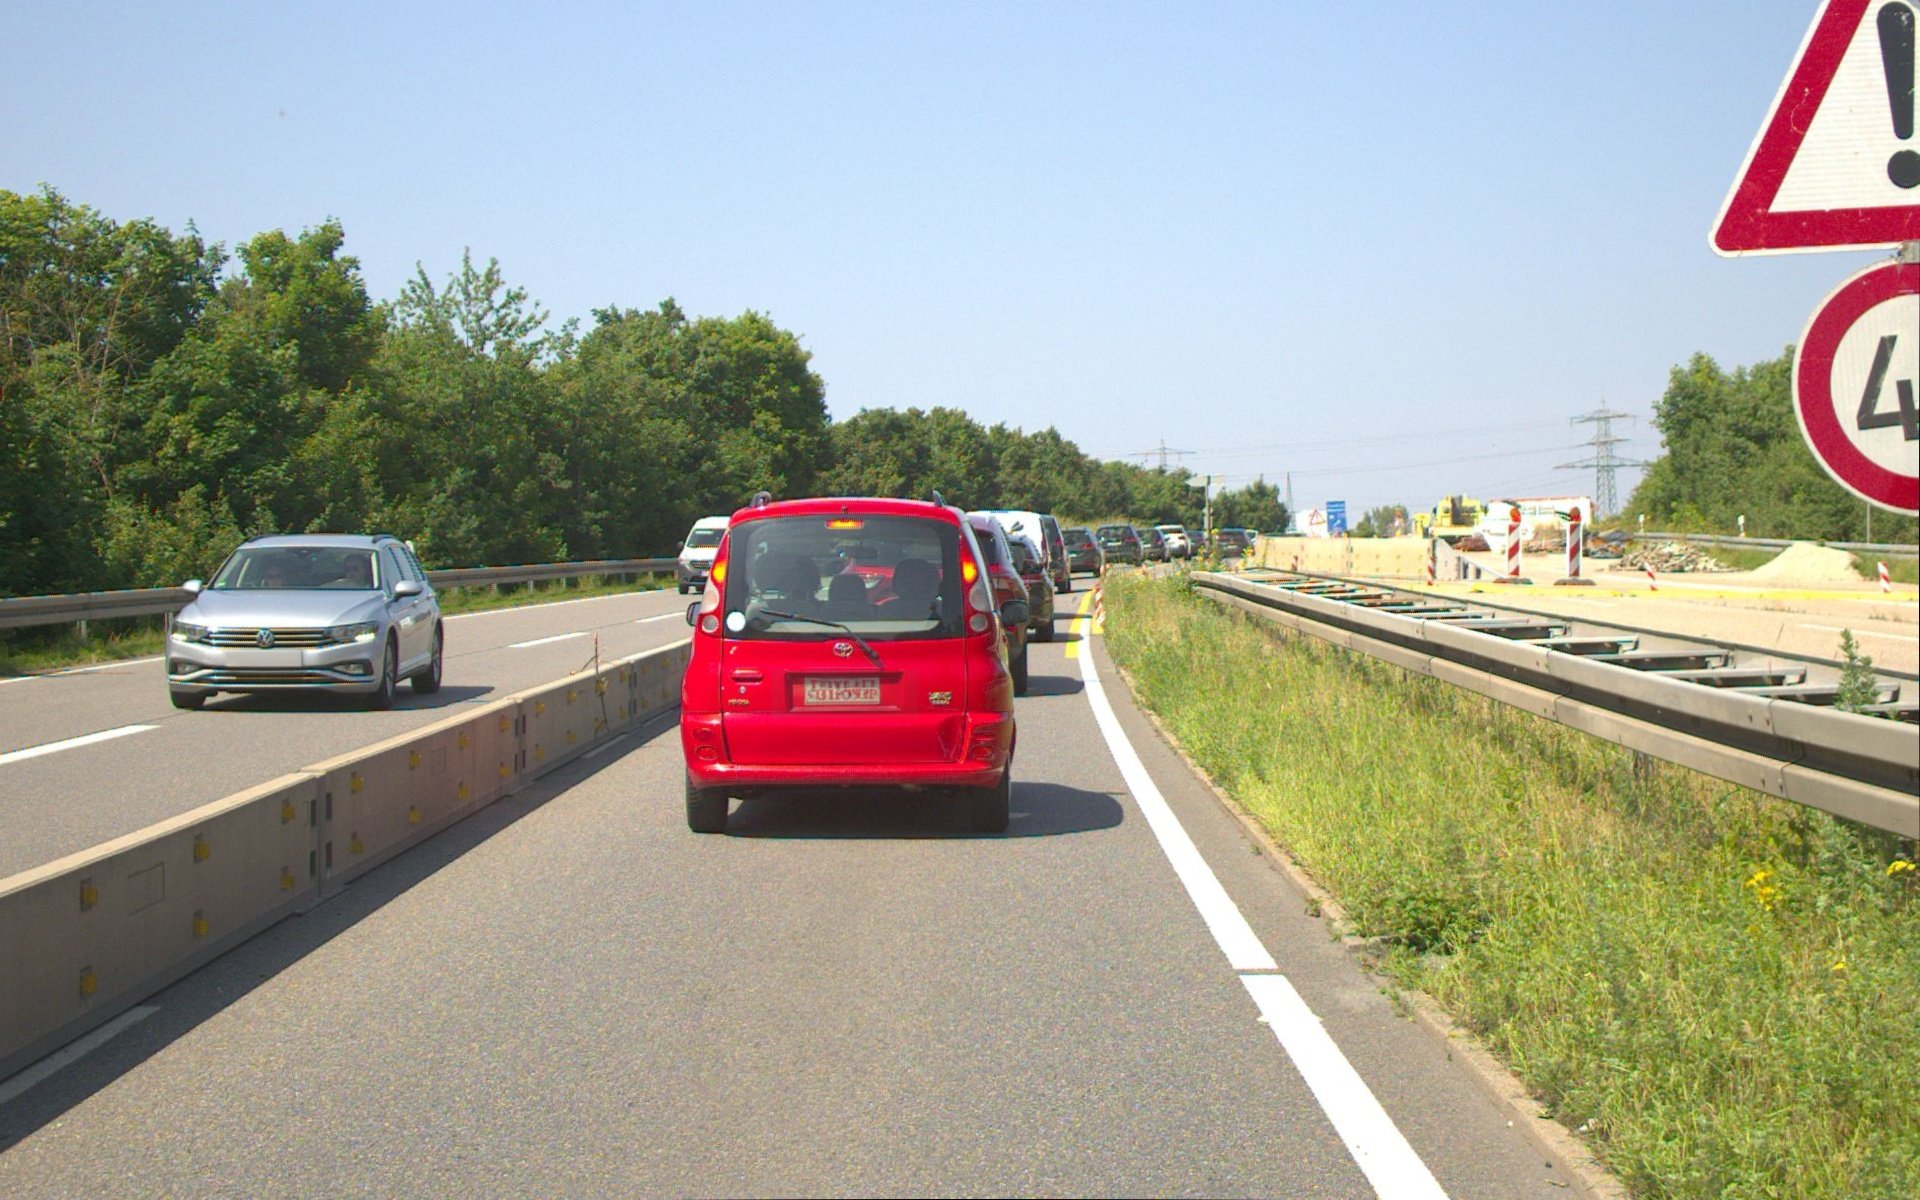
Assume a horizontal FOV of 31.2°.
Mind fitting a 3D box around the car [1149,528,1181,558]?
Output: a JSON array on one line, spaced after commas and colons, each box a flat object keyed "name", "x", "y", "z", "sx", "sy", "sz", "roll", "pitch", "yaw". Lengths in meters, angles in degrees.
[{"name": "car", "x": 9.256, "y": -2.580, "z": 155.405, "sx": 1.421, "sy": 1.294, "sz": 2.879, "roll": 0, "pitch": 1, "yaw": 4}]

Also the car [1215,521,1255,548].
[{"name": "car", "x": 15.570, "y": -3.721, "z": 194.947, "sx": 1.993, "sy": 1.546, "sz": 4.000, "roll": 0, "pitch": 1, "yaw": 1}]

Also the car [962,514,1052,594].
[{"name": "car", "x": 1.054, "y": -1.052, "z": 77.872, "sx": 1.993, "sy": 1.744, "sz": 4.000, "roll": 0, "pitch": 1, "yaw": 1}]

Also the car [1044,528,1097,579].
[{"name": "car", "x": 3.188, "y": -1.366, "z": 99.397, "sx": 1.502, "sy": 1.446, "sz": 3.325, "roll": 0, "pitch": 1, "yaw": 1}]

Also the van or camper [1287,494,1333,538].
[{"name": "van or camper", "x": 21.963, "y": -5.252, "z": 215.947, "sx": 2.328, "sy": 2.697, "sz": 4.594, "roll": -1, "pitch": 1, "yaw": -1}]

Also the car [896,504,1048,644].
[{"name": "car", "x": 0.199, "y": -0.383, "z": 46.880, "sx": 1.993, "sy": 1.831, "sz": 4.000, "roll": 0, "pitch": 1, "yaw": 1}]

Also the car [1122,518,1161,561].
[{"name": "car", "x": 7.383, "y": -2.478, "z": 139.958, "sx": 1.502, "sy": 1.730, "sz": 3.170, "roll": 0, "pitch": 1, "yaw": 2}]

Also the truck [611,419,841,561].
[{"name": "truck", "x": -9.204, "y": -4.331, "z": 135.980, "sx": 8.621, "sy": 5.357, "sz": 3.389, "roll": -1, "pitch": 1, "yaw": 3}]

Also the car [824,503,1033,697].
[{"name": "car", "x": -0.240, "y": -0.042, "z": 32.509, "sx": 1.830, "sy": 1.716, "sz": 4.000, "roll": 0, "pitch": 1, "yaw": 2}]

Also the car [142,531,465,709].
[{"name": "car", "x": -5.645, "y": 0.117, "z": 30.099, "sx": 1.949, "sy": 1.417, "sz": 4.353, "roll": -1, "pitch": 1, "yaw": 1}]

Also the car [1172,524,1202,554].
[{"name": "car", "x": 11.328, "y": -3.059, "z": 171.497, "sx": 1.502, "sy": 1.446, "sz": 3.170, "roll": 0, "pitch": 1, "yaw": 4}]

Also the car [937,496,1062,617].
[{"name": "car", "x": 0.644, "y": -0.766, "z": 59.340, "sx": 1.993, "sy": 1.997, "sz": 4.000, "roll": 0, "pitch": 1, "yaw": -1}]

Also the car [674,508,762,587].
[{"name": "car", "x": -5.652, "y": -1.244, "z": 80.690, "sx": 1.755, "sy": 1.759, "sz": 4.285, "roll": -1, "pitch": 1, "yaw": -1}]

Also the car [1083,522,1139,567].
[{"name": "car", "x": 5.479, "y": -2.028, "z": 124.612, "sx": 1.994, "sy": 1.579, "sz": 4.000, "roll": 0, "pitch": 1, "yaw": 3}]

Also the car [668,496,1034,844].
[{"name": "car", "x": -0.531, "y": 0.299, "z": 18.434, "sx": 1.751, "sy": 1.667, "sz": 4.000, "roll": 0, "pitch": 1, "yaw": 0}]
